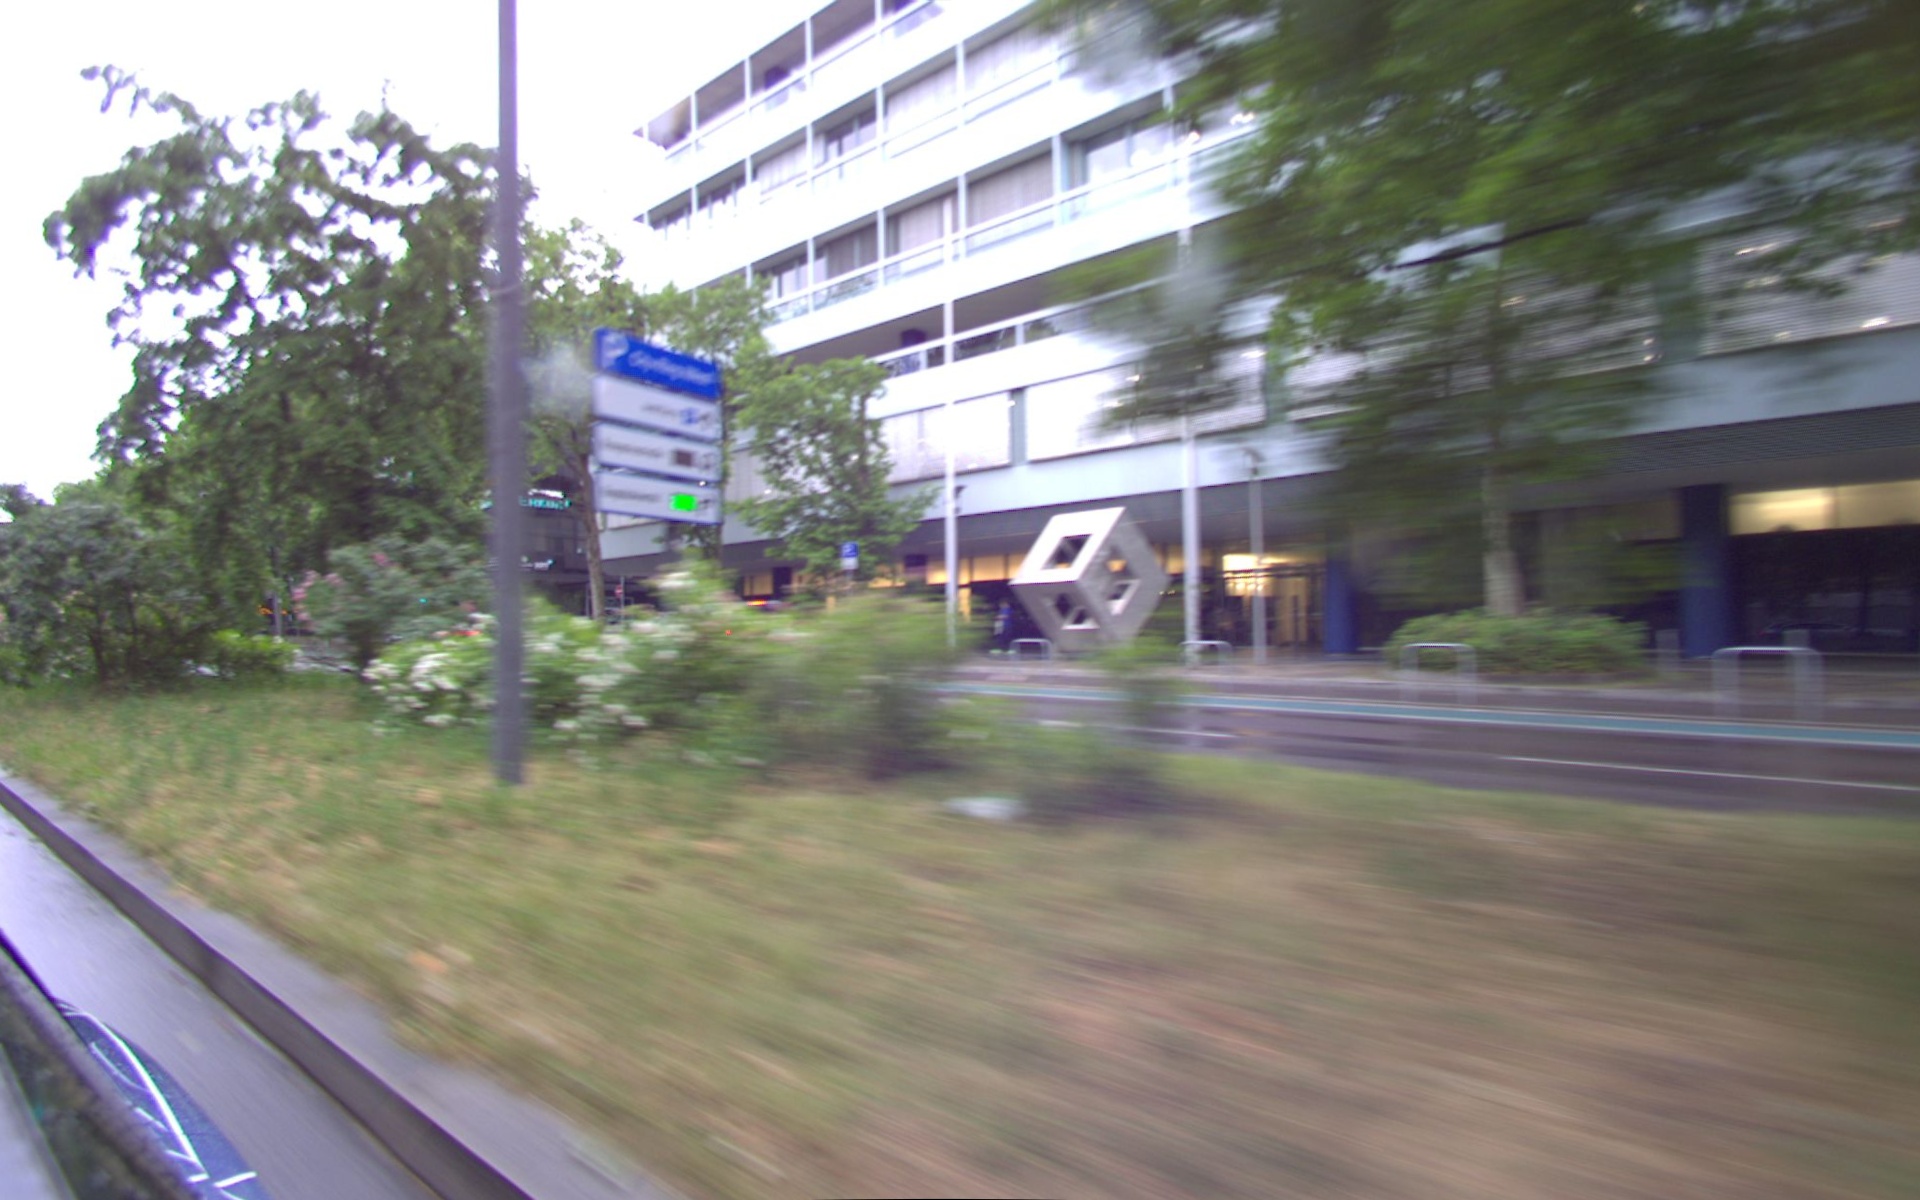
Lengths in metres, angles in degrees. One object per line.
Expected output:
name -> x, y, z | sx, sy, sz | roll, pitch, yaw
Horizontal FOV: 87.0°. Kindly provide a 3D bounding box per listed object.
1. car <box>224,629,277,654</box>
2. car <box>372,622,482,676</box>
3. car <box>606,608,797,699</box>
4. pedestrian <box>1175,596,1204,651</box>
car -> -44.579, 2.584, 63.524 | 4.538, 1.396, 1.850 | -1, 1, 44
car -> -17.857, 1.569, 33.825 | 4.748, 1.596, 1.888 | -1, 1, 45
car -> -5.880, 1.151, 22.705 | 4.674, 1.769, 1.893 | -2, 0, 43
pedestrian -> 6.339, 0.640, 27.951 | 0.574, 1.493, 0.604 | -1, 0, 38
